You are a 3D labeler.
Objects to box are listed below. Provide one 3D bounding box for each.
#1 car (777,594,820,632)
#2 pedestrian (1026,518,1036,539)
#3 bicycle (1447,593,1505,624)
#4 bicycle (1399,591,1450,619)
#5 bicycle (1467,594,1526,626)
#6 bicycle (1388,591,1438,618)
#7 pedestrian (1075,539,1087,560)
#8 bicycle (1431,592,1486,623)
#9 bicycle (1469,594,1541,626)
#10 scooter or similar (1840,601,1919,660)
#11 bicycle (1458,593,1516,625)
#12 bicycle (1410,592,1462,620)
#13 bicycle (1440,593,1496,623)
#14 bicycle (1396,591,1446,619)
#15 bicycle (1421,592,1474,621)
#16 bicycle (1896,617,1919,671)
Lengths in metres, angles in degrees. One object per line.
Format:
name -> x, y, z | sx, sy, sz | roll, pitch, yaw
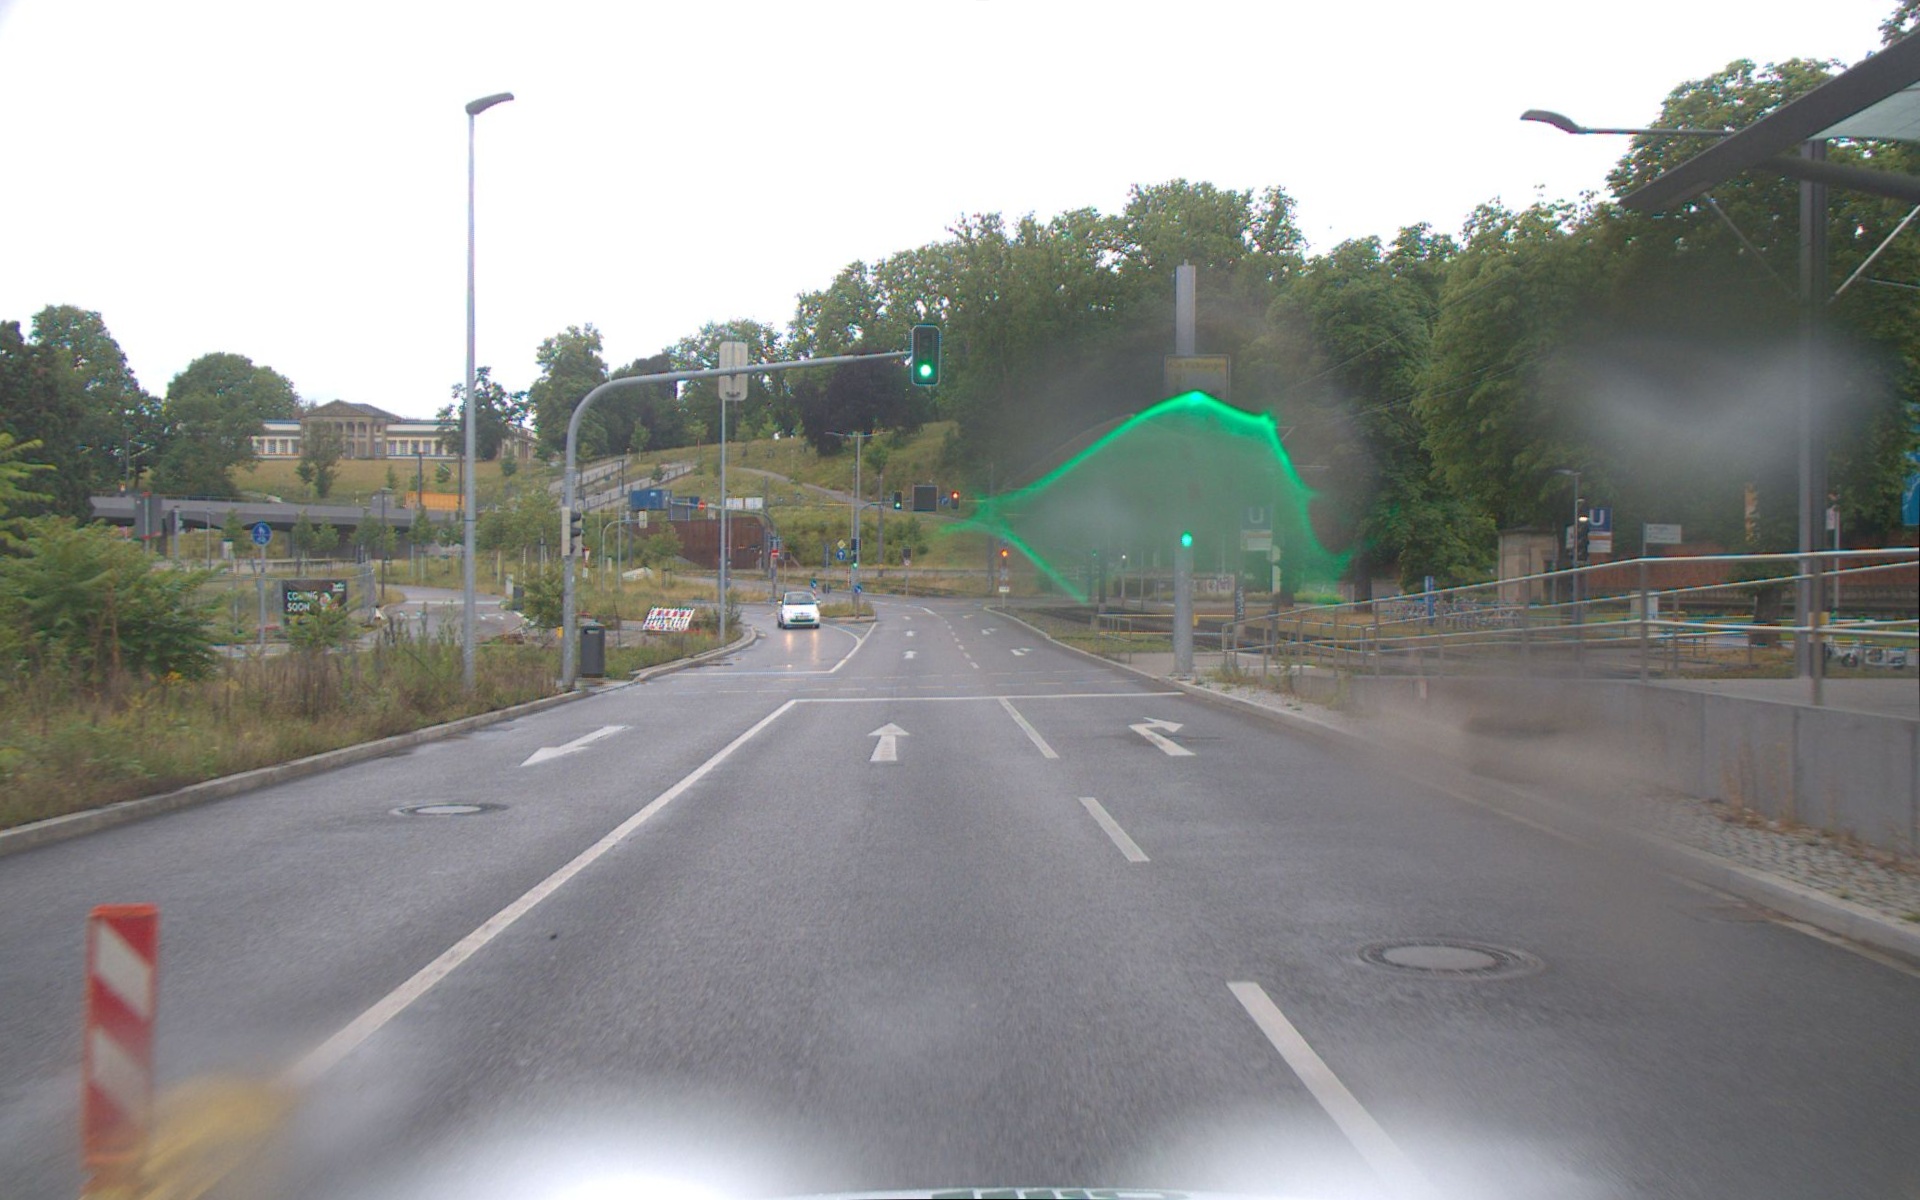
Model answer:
car -> -6.945, 0.546, 70.949 | 1.558, 1.517, 3.706 | -1, 0, -9
pedestrian -> 7.163, -7.189, 166.278 | 0.776, 2.047, 0.654 | -4, 7, -17
bicycle -> 18.007, 0.286, 57.734 | 1.810, 1.050, 0.652 | -1, 1, -4
bicycle -> 17.716, 0.196, 63.114 | 1.774, 1.050, 0.652 | -1, 1, -4
bicycle -> 18.138, 0.319, 55.920 | 1.774, 1.050, 0.652 | -1, 1, -4
bicycle -> 17.748, 0.173, 64.820 | 1.774, 1.050, 0.652 | -1, 1, -4
pedestrian -> 10.780, -4.535, 147.601 | 0.938, 1.812, 1.123 | 2, 2, 0
bicycle -> 17.847, 0.262, 59.275 | 1.774, 1.052, 0.652 | -1, 1, -4
bicycle -> 18.169, 0.328, 55.120 | 2.179, 1.050, 0.689 | -1, 1, -4
scooter or similar -> 18.900, 0.621, 33.886 | 1.512, 1.156, 0.431 | -1, 0, -3
bicycle -> 18.124, 0.305, 56.872 | 1.774, 1.050, 0.652 | -1, 1, -4
bicycle -> 17.878, 0.223, 62.162 | 1.774, 1.050, 0.652 | -1, 1, -4
bicycle -> 17.961, 0.274, 58.528 | 1.774, 1.050, 0.652 | -1, 1, -4
bicycle -> 17.819, 0.183, 63.940 | 1.774, 1.050, 0.652 | -1, 1, -4
bicycle -> 17.913, 0.242, 60.787 | 1.774, 1.050, 0.652 | -1, 1, -4
bicycle -> 18.526, 0.793, 30.465 | 2.275, 0.974, 0.570 | -1, 0, -3
